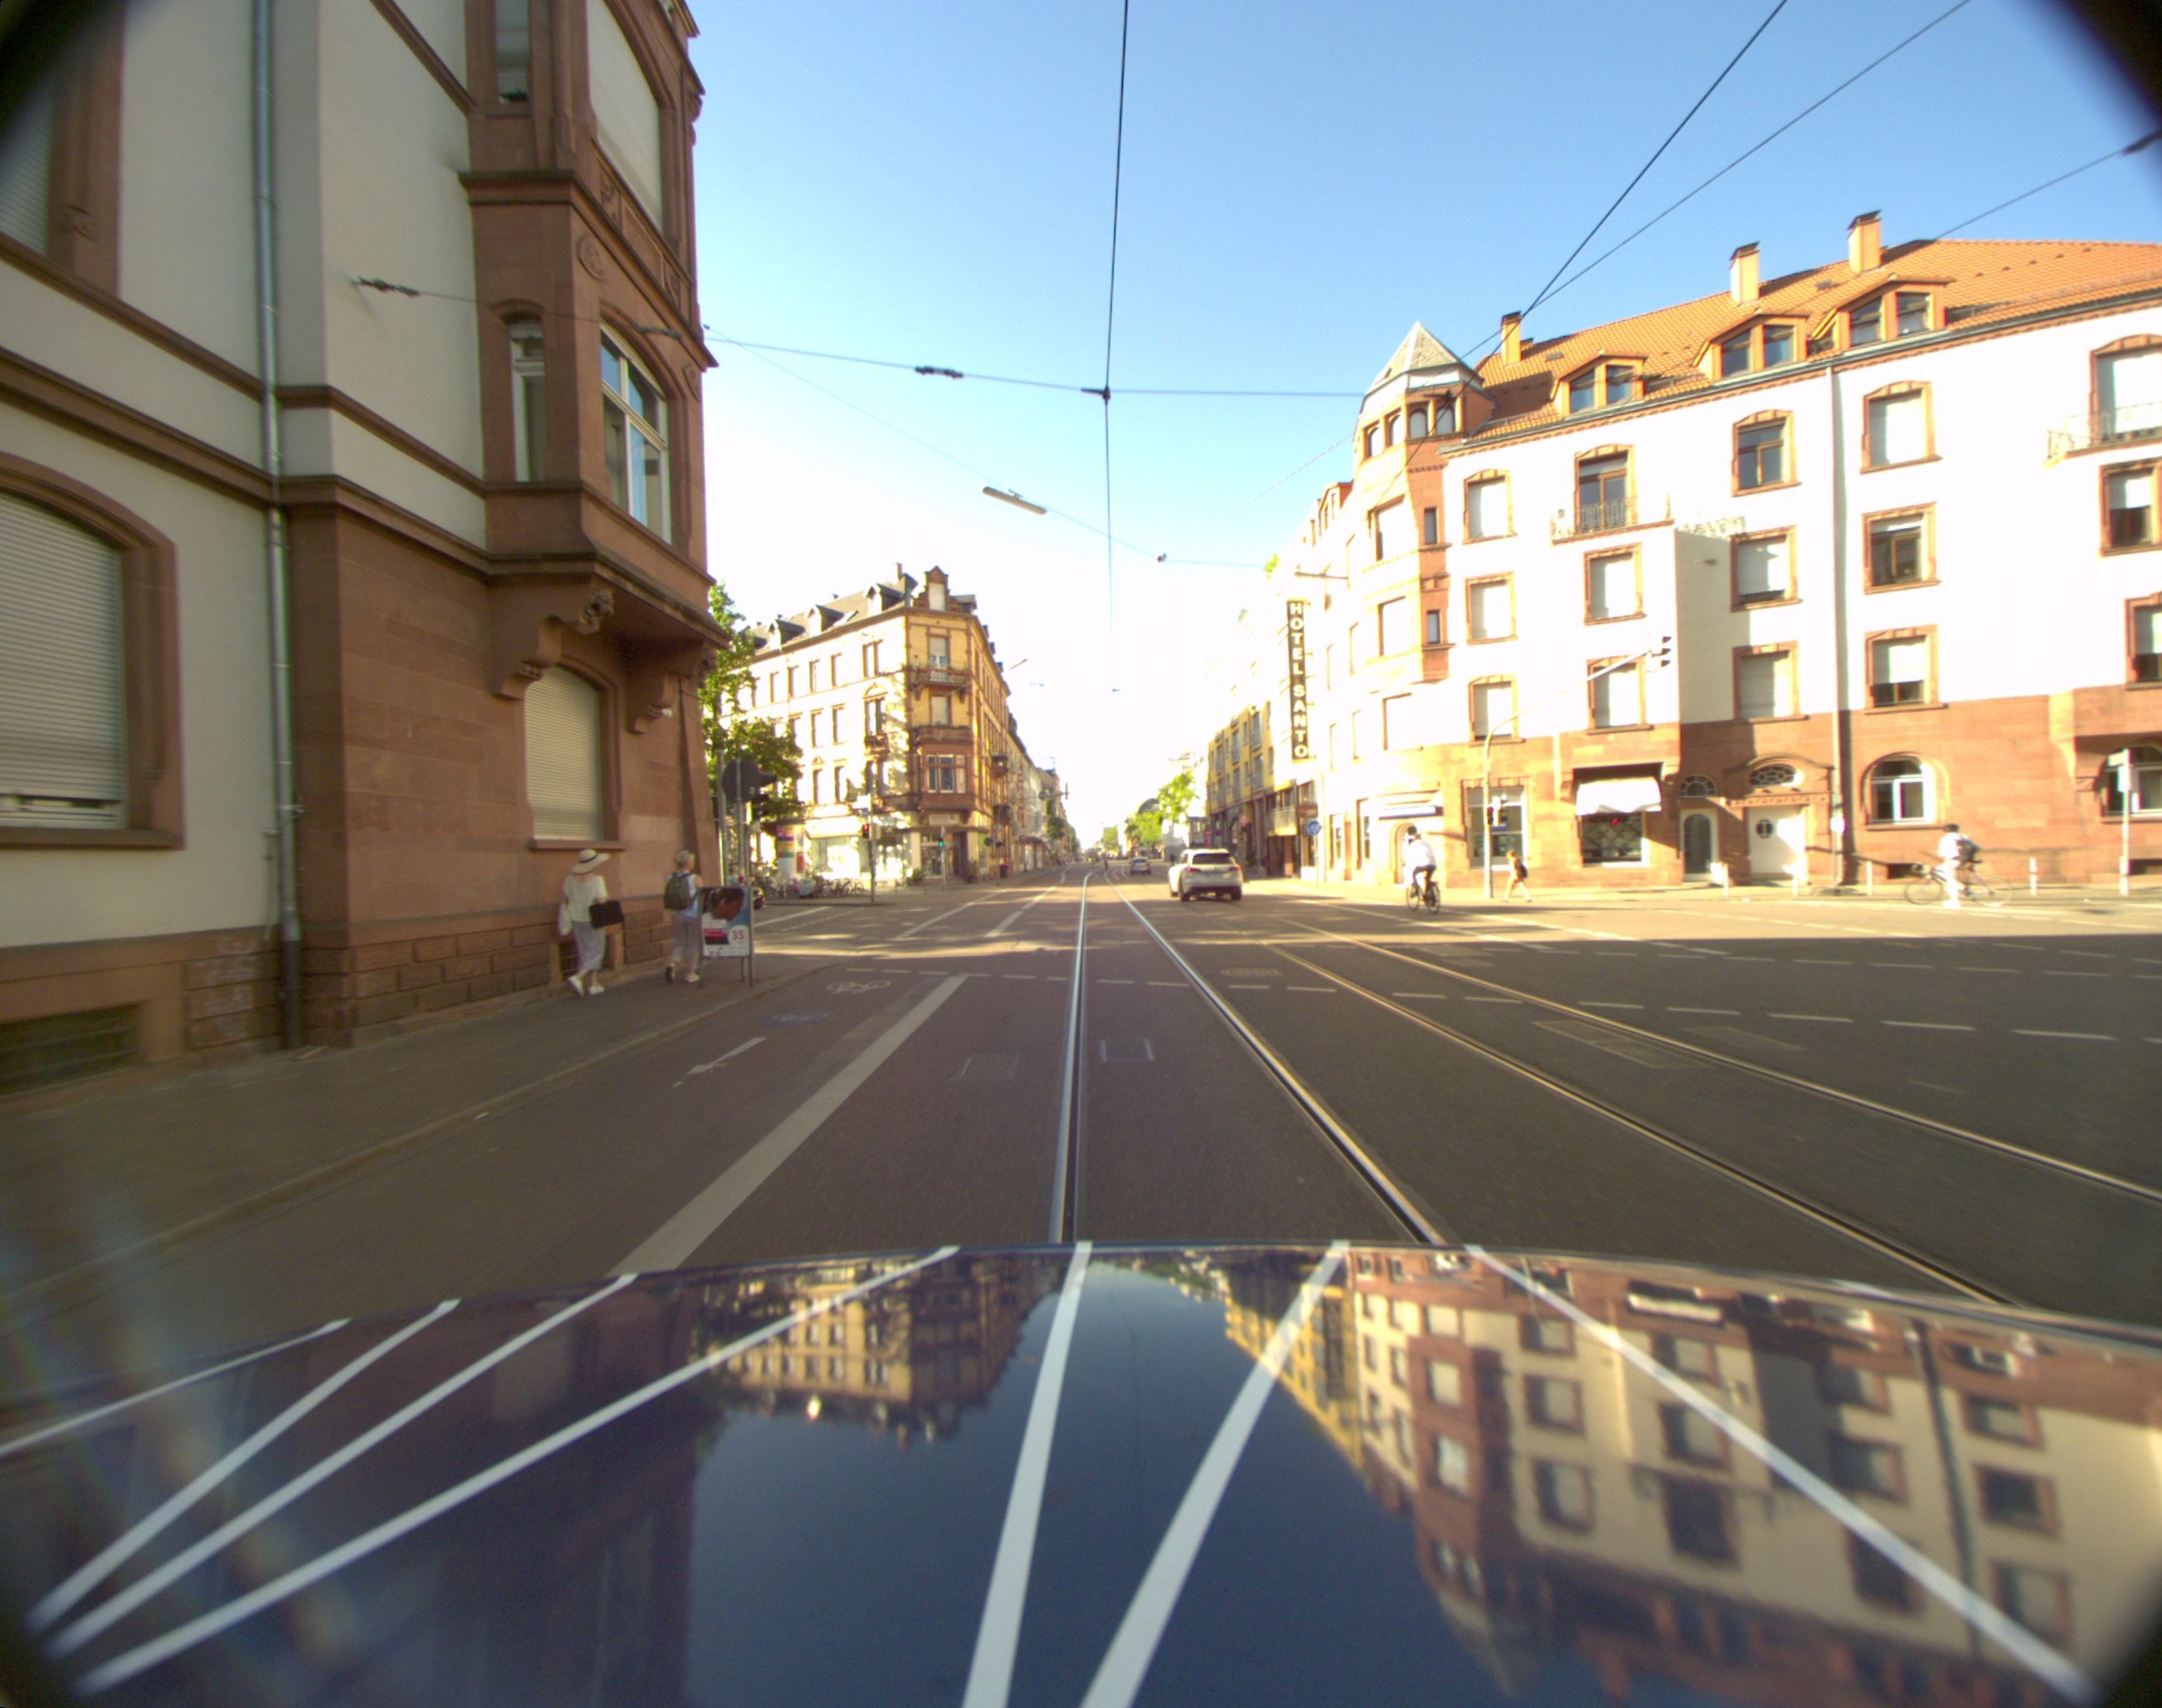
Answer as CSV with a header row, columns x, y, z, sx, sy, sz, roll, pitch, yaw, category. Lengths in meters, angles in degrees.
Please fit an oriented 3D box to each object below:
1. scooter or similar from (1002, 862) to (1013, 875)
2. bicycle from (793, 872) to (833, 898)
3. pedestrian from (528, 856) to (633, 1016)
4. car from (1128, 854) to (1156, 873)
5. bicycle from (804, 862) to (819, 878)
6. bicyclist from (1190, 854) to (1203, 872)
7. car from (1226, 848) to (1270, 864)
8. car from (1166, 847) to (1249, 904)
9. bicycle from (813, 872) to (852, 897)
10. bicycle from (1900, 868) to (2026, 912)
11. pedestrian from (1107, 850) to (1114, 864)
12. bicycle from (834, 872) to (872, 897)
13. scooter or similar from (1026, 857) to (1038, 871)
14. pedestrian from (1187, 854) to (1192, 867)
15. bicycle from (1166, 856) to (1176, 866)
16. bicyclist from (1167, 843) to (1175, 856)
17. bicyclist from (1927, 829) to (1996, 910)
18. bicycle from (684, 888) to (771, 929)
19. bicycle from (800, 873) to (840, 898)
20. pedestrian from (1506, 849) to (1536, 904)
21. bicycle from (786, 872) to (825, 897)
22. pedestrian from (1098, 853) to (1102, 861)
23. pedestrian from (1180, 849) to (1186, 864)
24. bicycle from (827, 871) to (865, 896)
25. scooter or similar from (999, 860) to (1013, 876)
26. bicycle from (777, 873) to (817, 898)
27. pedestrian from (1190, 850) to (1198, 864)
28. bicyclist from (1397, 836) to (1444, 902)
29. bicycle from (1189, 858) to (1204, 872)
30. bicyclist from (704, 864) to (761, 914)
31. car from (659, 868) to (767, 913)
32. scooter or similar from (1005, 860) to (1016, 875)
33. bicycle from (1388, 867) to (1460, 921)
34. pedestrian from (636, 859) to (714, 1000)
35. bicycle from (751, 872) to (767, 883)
x,y,z,sx,sy,sz,roll,pitch,yaw,category
-5.707,1.116,59.060,0.792,0.952,0.680,2,0,-1,scooter or similar
-14.019,1.605,39.821,0.617,1.136,2.122,-1,2,23,bicycle
-5.815,0.927,8.864,0.707,1.772,0.673,-2,0,-1,pedestrian
5.211,0.776,65.411,1.990,1.493,4.308,-2,0,0,car
-17.807,1.056,50.250,0.996,0.998,0.398,-2,1,36,bicycle
8.768,0.674,57.641,0.737,1.373,1.468,-1,0,-1,bicyclist
17.264,0.240,78.722,4.244,1.539,1.784,-1,2,0,car
4.218,0.674,26.084,1.999,1.734,4.562,-2,0,-1,car
-12.846,1.569,39.277,0.617,1.136,2.122,-1,2,23,bicycle
19.793,0.794,17.078,0.793,0.904,1.809,-2,0,-39,bicycle
3.496,0.367,90.233,0.781,1.551,0.650,-2,0,1,pedestrian
-11.739,1.547,39.124,0.617,1.136,2.123,-1,2,23,bicycle
-5.292,1.055,82.388,0.410,1.273,1.287,28,-1,17,scooter or similar
13.789,0.838,96.361,0.573,1.608,0.499,-2,0,-1,pedestrian
9.709,0.768,81.812,0.732,1.082,2.061,-1,0,-1,bicycle
9.692,-0.493,81.883,0.726,1.373,1.227,-2,1,-1,bicyclist
19.753,0.338,17.053,0.617,1.753,0.971,-2,1,-39,bicyclist
-9.785,1.505,21.066,2.093,1.038,0.848,-1,0,15,bicycle
-13.551,1.617,39.532,0.617,1.136,2.122,-1,2,23,bicycle
12.649,0.648,21.848,0.544,1.543,0.516,-2,1,-1,pedestrian
-14.544,1.621,40.177,0.617,1.136,2.122,-1,2,23,bicycle
3.900,0.636,152.741,0.716,1.635,0.400,-1,1,3,pedestrian
13.017,0.320,96.608,0.639,1.935,0.709,-1,1,-1,pedestrian
-12.153,1.529,39.344,0.617,1.136,2.123,-1,1,23,bicycle
-5.629,1.036,57.001,0.899,1.142,0.547,3,0,-1,scooter or similar
-15.087,1.659,40.423,0.617,1.136,2.122,-1,2,23,bicycle
13.923,0.366,93.522,0.715,1.754,0.779,-2,1,-8,pedestrian
7.826,0.345,17.541,0.684,1.474,0.778,-2,0,0,bicyclist
8.754,0.820,57.538,0.732,1.059,2.061,-1,0,-1,bicycle
-9.631,0.963,21.015,1.133,1.335,0.839,-1,0,15,bicyclist
-14.094,1.367,29.039,4.238,1.490,1.848,-2,1,36,car
-5.562,1.051,60.177,0.792,1.142,0.790,2,0,-1,scooter or similar
7.881,0.897,17.550,0.694,1.114,2.083,-1,0,0,bicycle
-5.127,0.925,9.626,0.628,1.691,0.682,-2,1,-8,pedestrian
-22.942,1.671,54.112,1.342,0.793,0.398,-2,1,36,bicycle
